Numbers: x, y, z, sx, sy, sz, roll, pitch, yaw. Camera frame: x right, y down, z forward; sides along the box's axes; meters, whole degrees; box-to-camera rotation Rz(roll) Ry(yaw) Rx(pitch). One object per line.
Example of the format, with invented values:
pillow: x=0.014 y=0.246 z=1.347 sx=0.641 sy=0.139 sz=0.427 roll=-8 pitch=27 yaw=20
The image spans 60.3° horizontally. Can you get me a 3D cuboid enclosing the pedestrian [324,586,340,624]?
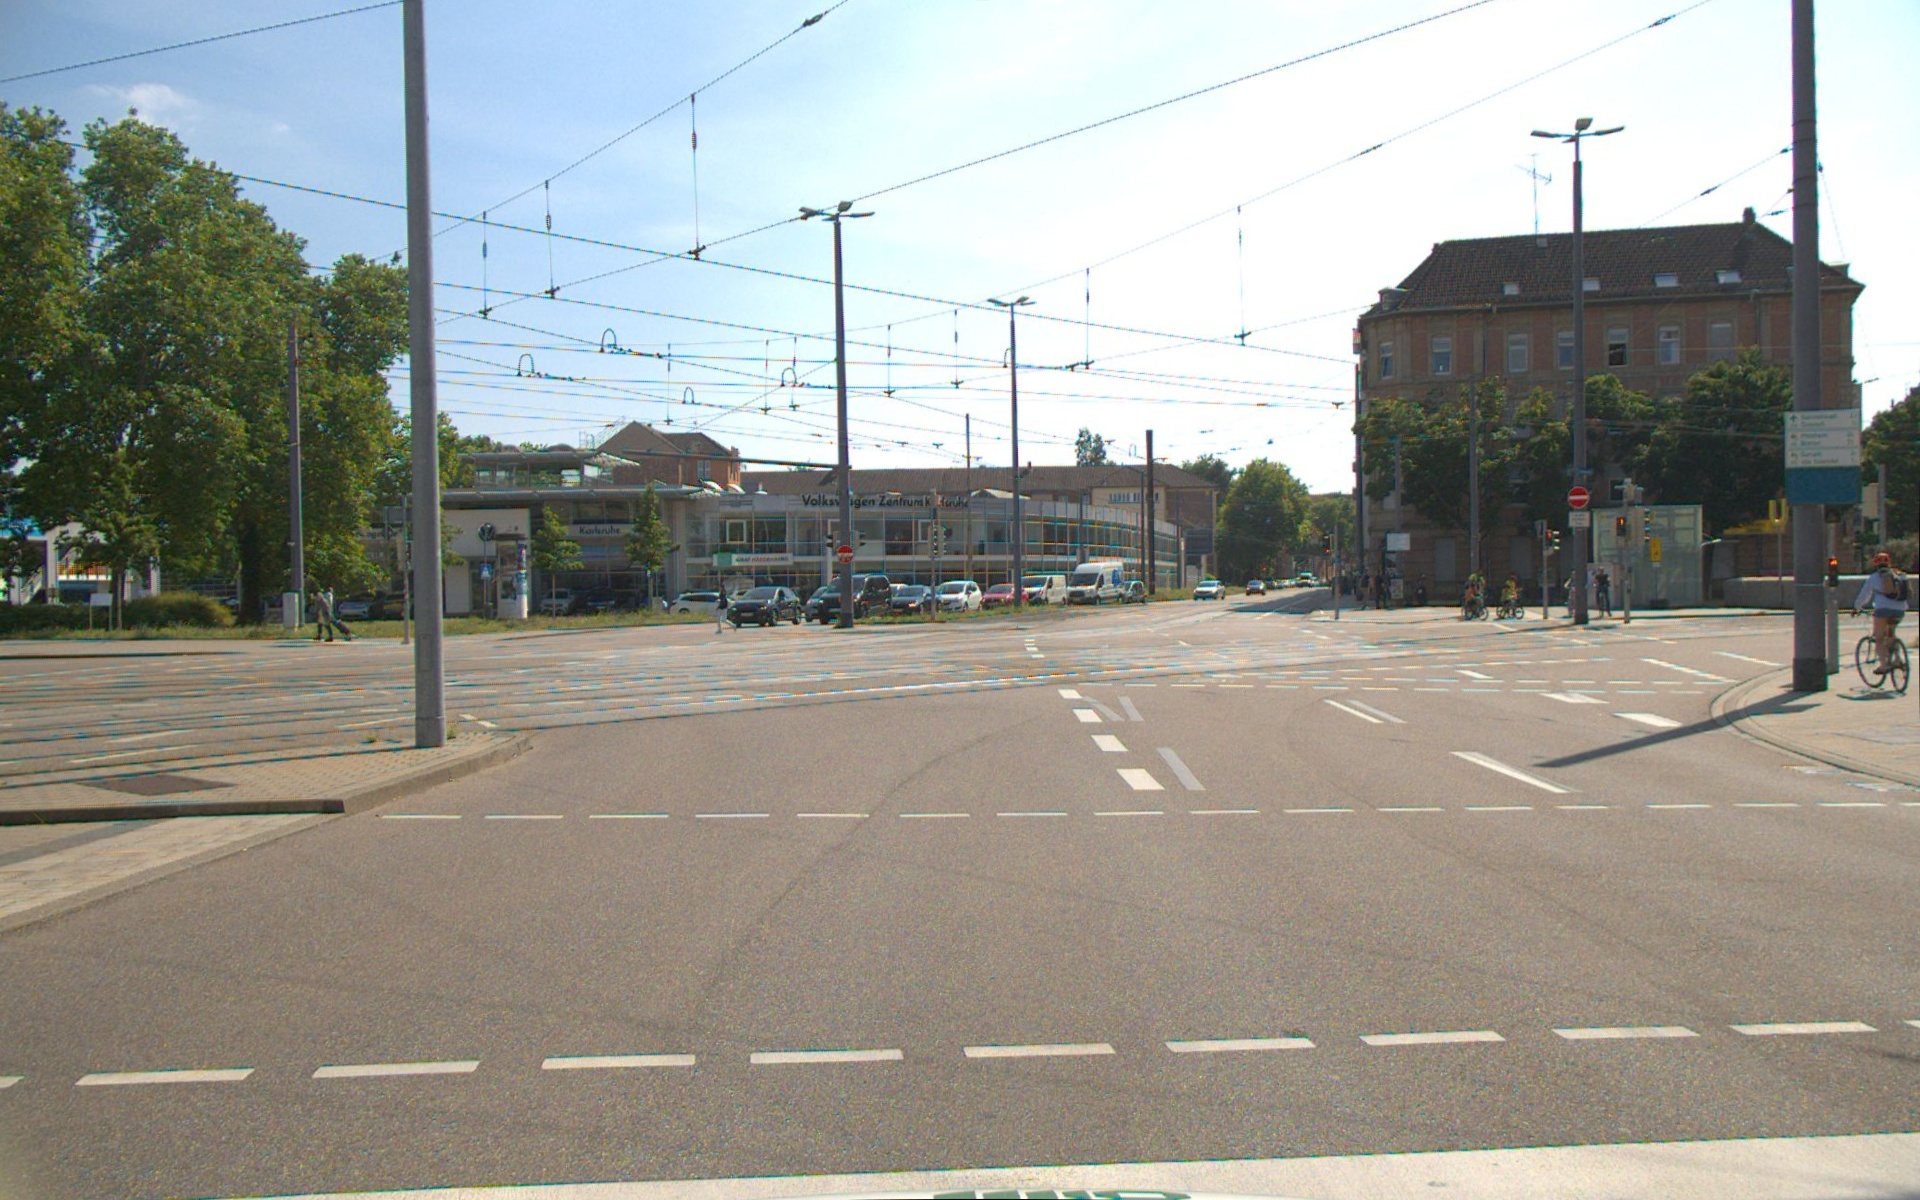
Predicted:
pedestrian: x=-27.359 y=0.211 z=72.044 sx=0.384 sy=1.624 sz=0.464 roll=1 pitch=-1 yaw=23

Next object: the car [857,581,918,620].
car: x=-3.372 y=0.051 z=78.057 sx=1.616 sy=1.769 sz=4.203 roll=-1 pitch=-1 yaw=16

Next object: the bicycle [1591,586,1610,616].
bicycle: x=23.844 y=0.013 z=61.566 sx=0.653 sy=1.088 sz=2.463 roll=1 pitch=1 yaw=22

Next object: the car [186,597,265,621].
car: x=-44.876 y=0.528 z=101.083 sx=3.906 sy=1.395 sz=1.999 roll=1 pitch=0 yaw=-1

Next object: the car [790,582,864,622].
car: x=-5.645 y=0.097 z=70.700 sx=1.854 sy=1.615 sz=4.002 roll=-1 pitch=-1 yaw=16

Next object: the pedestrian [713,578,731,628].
pedestrian: x=-7.906 y=0.096 z=54.898 sx=0.449 sy=1.633 sz=0.395 roll=1 pitch=-1 yaw=-37

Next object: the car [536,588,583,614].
car: x=-24.198 y=0.080 z=100.012 sx=1.953 sy=1.512 sz=3.998 roll=1 pitch=0 yaw=-2

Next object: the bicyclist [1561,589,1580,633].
bicyclist: x=22.930 y=0.400 z=62.092 sx=0.489 sy=1.649 sz=0.650 roll=1 pitch=0 yaw=4

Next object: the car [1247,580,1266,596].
car: x=28.992 y=-1.172 z=161.757 sx=1.355 sy=1.439 sz=3.013 roll=1 pitch=0 yaw=18

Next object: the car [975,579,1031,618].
car: x=2.236 y=-0.065 z=85.295 sx=1.854 sy=1.950 sz=4.203 roll=-1 pitch=-1 yaw=16

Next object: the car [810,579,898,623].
car: x=-4.088 y=0.021 z=64.525 sx=1.919 sy=1.615 sz=4.719 roll=-1 pitch=1 yaw=16

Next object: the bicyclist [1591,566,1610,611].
bicyclist: x=23.843 y=-0.426 z=61.556 sx=0.653 sy=1.652 sz=0.782 roll=1 pitch=1 yaw=22

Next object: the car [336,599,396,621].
car: x=-35.995 y=0.583 z=100.272 sx=1.951 sy=1.266 sz=4.002 roll=1 pitch=0 yaw=4

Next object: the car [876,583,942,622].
car: x=-2.151 y=0.118 z=71.104 sx=1.854 sy=1.615 sz=4.003 roll=-1 pitch=-1 yaw=13

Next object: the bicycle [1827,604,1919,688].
bicycle: x=12.447 y=0.594 z=22.234 sx=0.699 sy=1.033 sz=2.022 roll=-3 pitch=0 yaw=7

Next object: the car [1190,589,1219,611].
car: x=18.664 y=-0.005 z=126.316 sx=1.356 sy=1.653 sz=3.338 roll=1 pitch=0 yaw=23

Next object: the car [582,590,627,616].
car: x=-21.471 y=0.184 z=100.025 sx=1.953 sy=1.512 sz=3.998 roll=1 pitch=0 yaw=-2

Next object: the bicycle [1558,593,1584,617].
bicycle: x=22.922 y=0.192 z=62.066 sx=0.489 sy=0.881 sz=1.588 roll=1 pitch=1 yaw=4

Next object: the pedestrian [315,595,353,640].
pedestrian: x=-19.873 y=0.552 z=52.509 sx=1.098 sy=1.428 sz=0.652 roll=1 pitch=-1 yaw=-23

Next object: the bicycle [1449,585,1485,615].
bicycle: x=18.975 y=0.022 z=61.928 sx=0.907 sy=1.088 sz=2.749 roll=1 pitch=0 yaw=9

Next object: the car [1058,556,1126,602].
car: x=7.995 y=-1.242 z=99.840 sx=2.165 sy=2.620 sz=5.870 roll=1 pitch=0 yaw=25

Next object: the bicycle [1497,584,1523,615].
bicycle: x=20.562 y=-0.031 z=61.857 sx=0.907 sy=1.088 sz=2.842 roll=1 pitch=1 yaw=18

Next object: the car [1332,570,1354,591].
car: x=38.418 y=-1.946 z=165.967 sx=2.063 sy=2.049 sz=4.004 roll=-1 pitch=1 yaw=13

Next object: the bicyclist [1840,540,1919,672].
bicyclist: x=12.411 y=0.076 z=22.227 sx=0.699 sy=1.698 sz=0.875 roll=-3 pitch=0 yaw=7

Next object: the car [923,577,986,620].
car: x=-0.240 y=-0.042 z=78.426 sx=1.854 sy=1.950 sz=4.203 roll=-1 pitch=-1 yaw=16

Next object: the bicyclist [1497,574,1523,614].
bicyclist: x=20.492 y=-0.226 z=61.660 sx=0.907 sy=1.477 sz=1.252 roll=1 pitch=1 yaw=18

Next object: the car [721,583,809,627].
car: x=-7.480 y=0.208 z=63.861 sx=1.851 sy=1.615 sz=4.213 roll=-1 pitch=-1 yaw=16

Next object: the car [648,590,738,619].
car: x=-14.143 y=0.227 z=87.612 sx=4.486 sy=1.461 sz=1.445 roll=1 pitch=0 yaw=12

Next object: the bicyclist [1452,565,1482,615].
bicyclist: x=18.993 y=-0.368 z=61.979 sx=0.907 sy=1.852 sz=1.053 roll=1 pitch=-1 yaw=9

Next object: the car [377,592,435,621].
car: x=-33.686 y=0.402 z=100.703 sx=1.951 sy=1.713 sz=4.002 roll=1 pitch=0 yaw=4

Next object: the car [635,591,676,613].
car: x=-18.342 y=0.115 z=99.685 sx=1.793 sy=1.216 sz=3.998 roll=1 pitch=0 yaw=-2

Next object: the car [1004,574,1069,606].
car: x=4.314 y=-0.592 z=92.411 sx=2.140 sy=1.710 sz=5.029 roll=-1 pitch=0 yaw=22

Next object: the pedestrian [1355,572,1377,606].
pedestrian: x=17.696 y=-0.487 z=72.042 sx=0.608 sy=1.458 sz=0.703 roll=1 pitch=-1 yaw=-38
